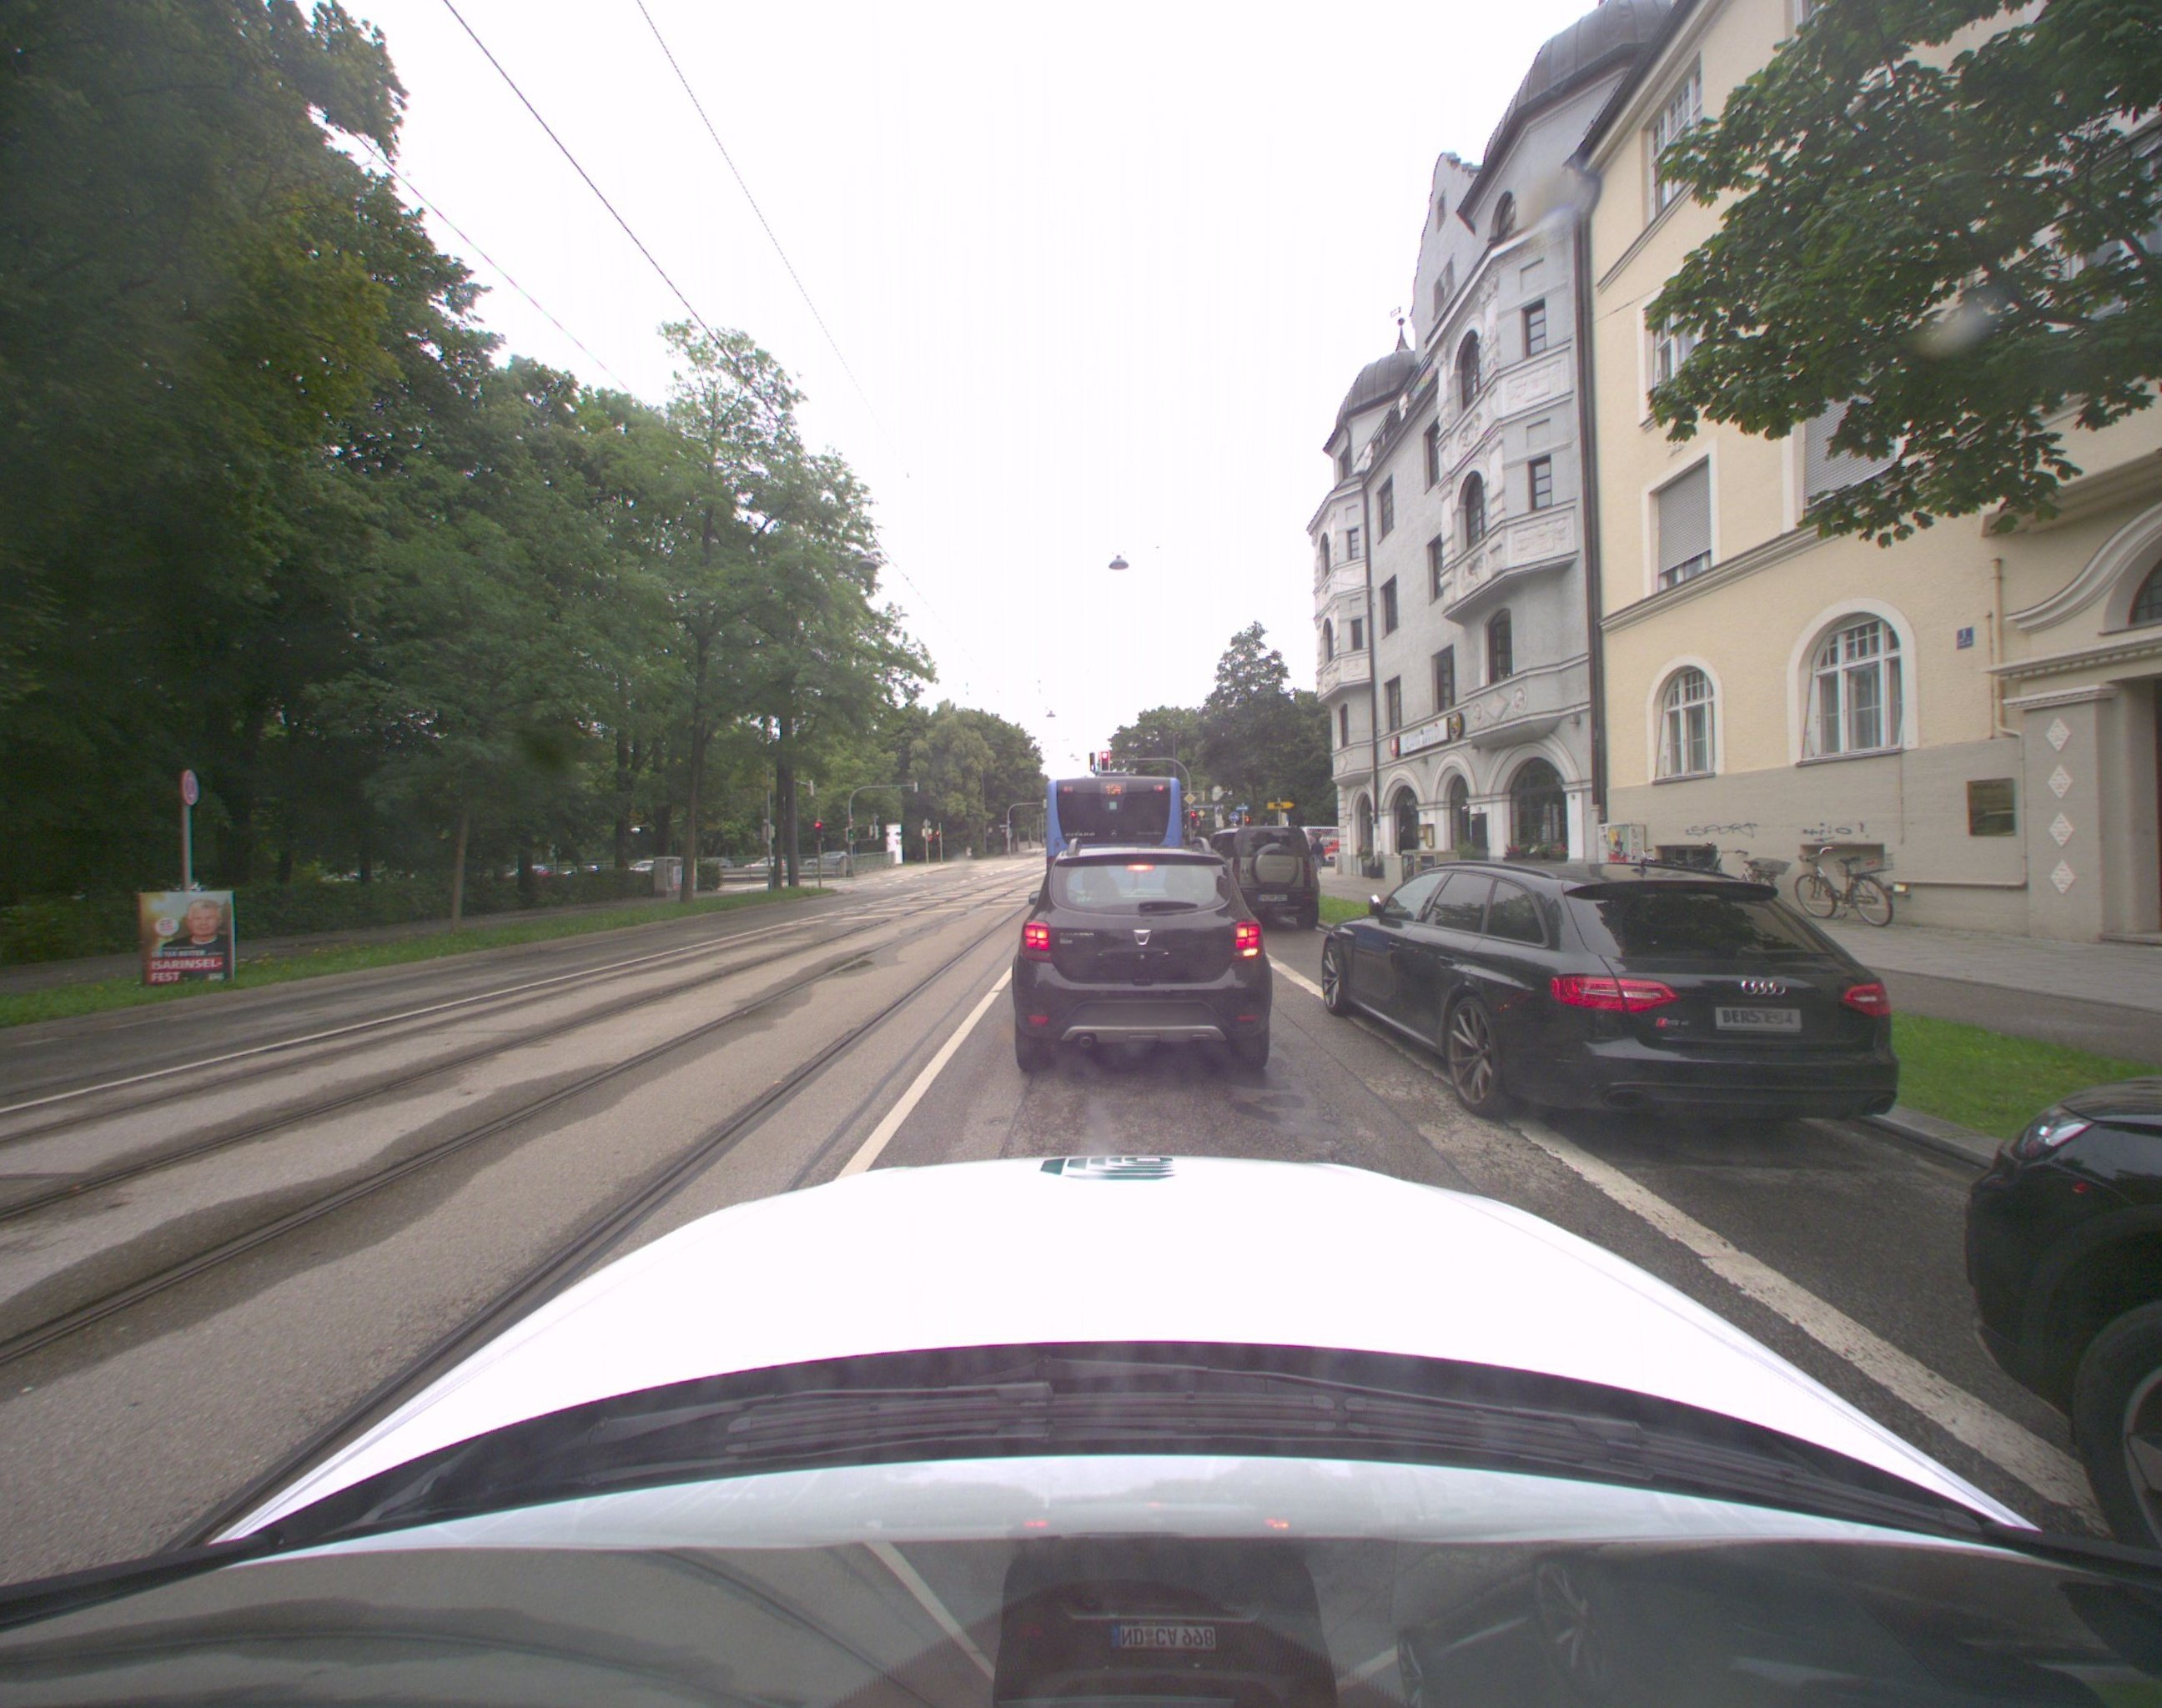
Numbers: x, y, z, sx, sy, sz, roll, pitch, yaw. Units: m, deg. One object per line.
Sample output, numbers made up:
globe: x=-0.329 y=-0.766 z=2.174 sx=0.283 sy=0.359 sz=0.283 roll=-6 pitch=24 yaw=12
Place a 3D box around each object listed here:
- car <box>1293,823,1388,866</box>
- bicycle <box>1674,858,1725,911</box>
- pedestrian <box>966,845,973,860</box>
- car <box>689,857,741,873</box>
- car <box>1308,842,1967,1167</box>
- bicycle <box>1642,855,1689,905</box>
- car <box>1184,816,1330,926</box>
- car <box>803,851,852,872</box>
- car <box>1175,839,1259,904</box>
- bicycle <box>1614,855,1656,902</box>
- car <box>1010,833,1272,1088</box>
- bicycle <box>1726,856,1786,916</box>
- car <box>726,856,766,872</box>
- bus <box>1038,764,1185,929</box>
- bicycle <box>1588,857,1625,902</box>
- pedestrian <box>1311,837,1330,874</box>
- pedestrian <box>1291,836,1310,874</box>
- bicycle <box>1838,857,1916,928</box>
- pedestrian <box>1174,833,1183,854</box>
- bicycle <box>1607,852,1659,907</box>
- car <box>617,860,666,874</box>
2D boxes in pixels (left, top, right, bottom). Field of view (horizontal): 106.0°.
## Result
car: x=16.301 y=-0.578 z=51.303 sx=5.281 sy=2.612 sz=2.229 roll=0 pitch=0 yaw=-2
bicycle: x=11.102 y=0.531 z=14.633 sx=0.271 sy=0.930 sz=0.886 roll=0 pitch=0 yaw=3
pedestrian: x=-11.411 y=-0.162 z=83.242 sx=0.529 sy=1.501 sz=0.589 roll=0 pitch=0 yaw=6
car: x=-32.979 y=1.017 z=73.403 sx=3.915 sy=1.404 sz=1.719 roll=0 pitch=0 yaw=-3
car: x=3.089 y=0.660 z=5.885 sx=1.709 sy=1.426 sz=4.603 roll=0 pitch=0 yaw=1
bicycle: x=11.193 y=0.490 z=15.602 sx=0.304 sy=0.930 sz=0.886 roll=0 pitch=0 yaw=4
car: x=3.361 y=0.297 z=16.544 sx=1.908 sy=1.905 sz=4.807 roll=0 pitch=0 yaw=0
car: x=-22.990 y=0.650 z=74.013 sx=4.015 sy=1.887 sz=1.488 roll=0 pitch=0 yaw=-5
car: x=3.573 y=0.429 z=22.114 sx=1.708 sy=1.591 sz=4.329 roll=0 pitch=0 yaw=2
bicycle: x=11.256 y=0.487 z=16.562 sx=0.289 sy=0.930 sz=0.886 roll=0 pitch=0 yaw=3
car: x=0.407 y=0.650 z=6.735 sx=1.595 sy=1.556 sz=3.526 roll=0 pitch=0 yaw=1
bicycle: x=11.001 y=0.507 z=13.299 sx=0.284 sy=0.930 sz=0.886 roll=0 pitch=0 yaw=3
car: x=-30.174 y=0.871 z=73.378 sx=3.103 sy=1.452 sz=1.249 roll=0 pitch=0 yaw=-4
bus: x=0.558 y=-0.139 z=18.218 sx=2.670 sy=2.997 sz=6.960 roll=0 pitch=0 yaw=0
bicycle: x=11.285 y=0.531 z=17.499 sx=0.258 sy=0.930 sz=0.886 roll=0 pitch=0 yaw=3
pedestrian: x=11.526 y=0.067 z=39.165 sx=0.702 sy=1.732 sz=0.843 roll=0 pitch=0 yaw=2
pedestrian: x=10.739 y=0.039 z=39.812 sx=0.702 sy=1.816 sz=0.870 roll=0 pitch=0 yaw=2
bicycle: x=10.989 y=0.512 z=11.269 sx=0.220 sy=0.930 sz=0.886 roll=0 pitch=0 yaw=1
pedestrian: x=10.125 y=-1.073 z=84.852 sx=0.760 sy=2.116 sz=0.854 roll=-3 pitch=1 yaw=2
bicycle: x=10.814 y=0.485 z=15.982 sx=0.241 sy=1.039 sz=1.224 roll=0 pitch=0 yaw=2
car: x=-39.420 y=1.160 z=73.069 sx=3.719 sy=1.185 sz=1.249 roll=0 pitch=0 yaw=-3
